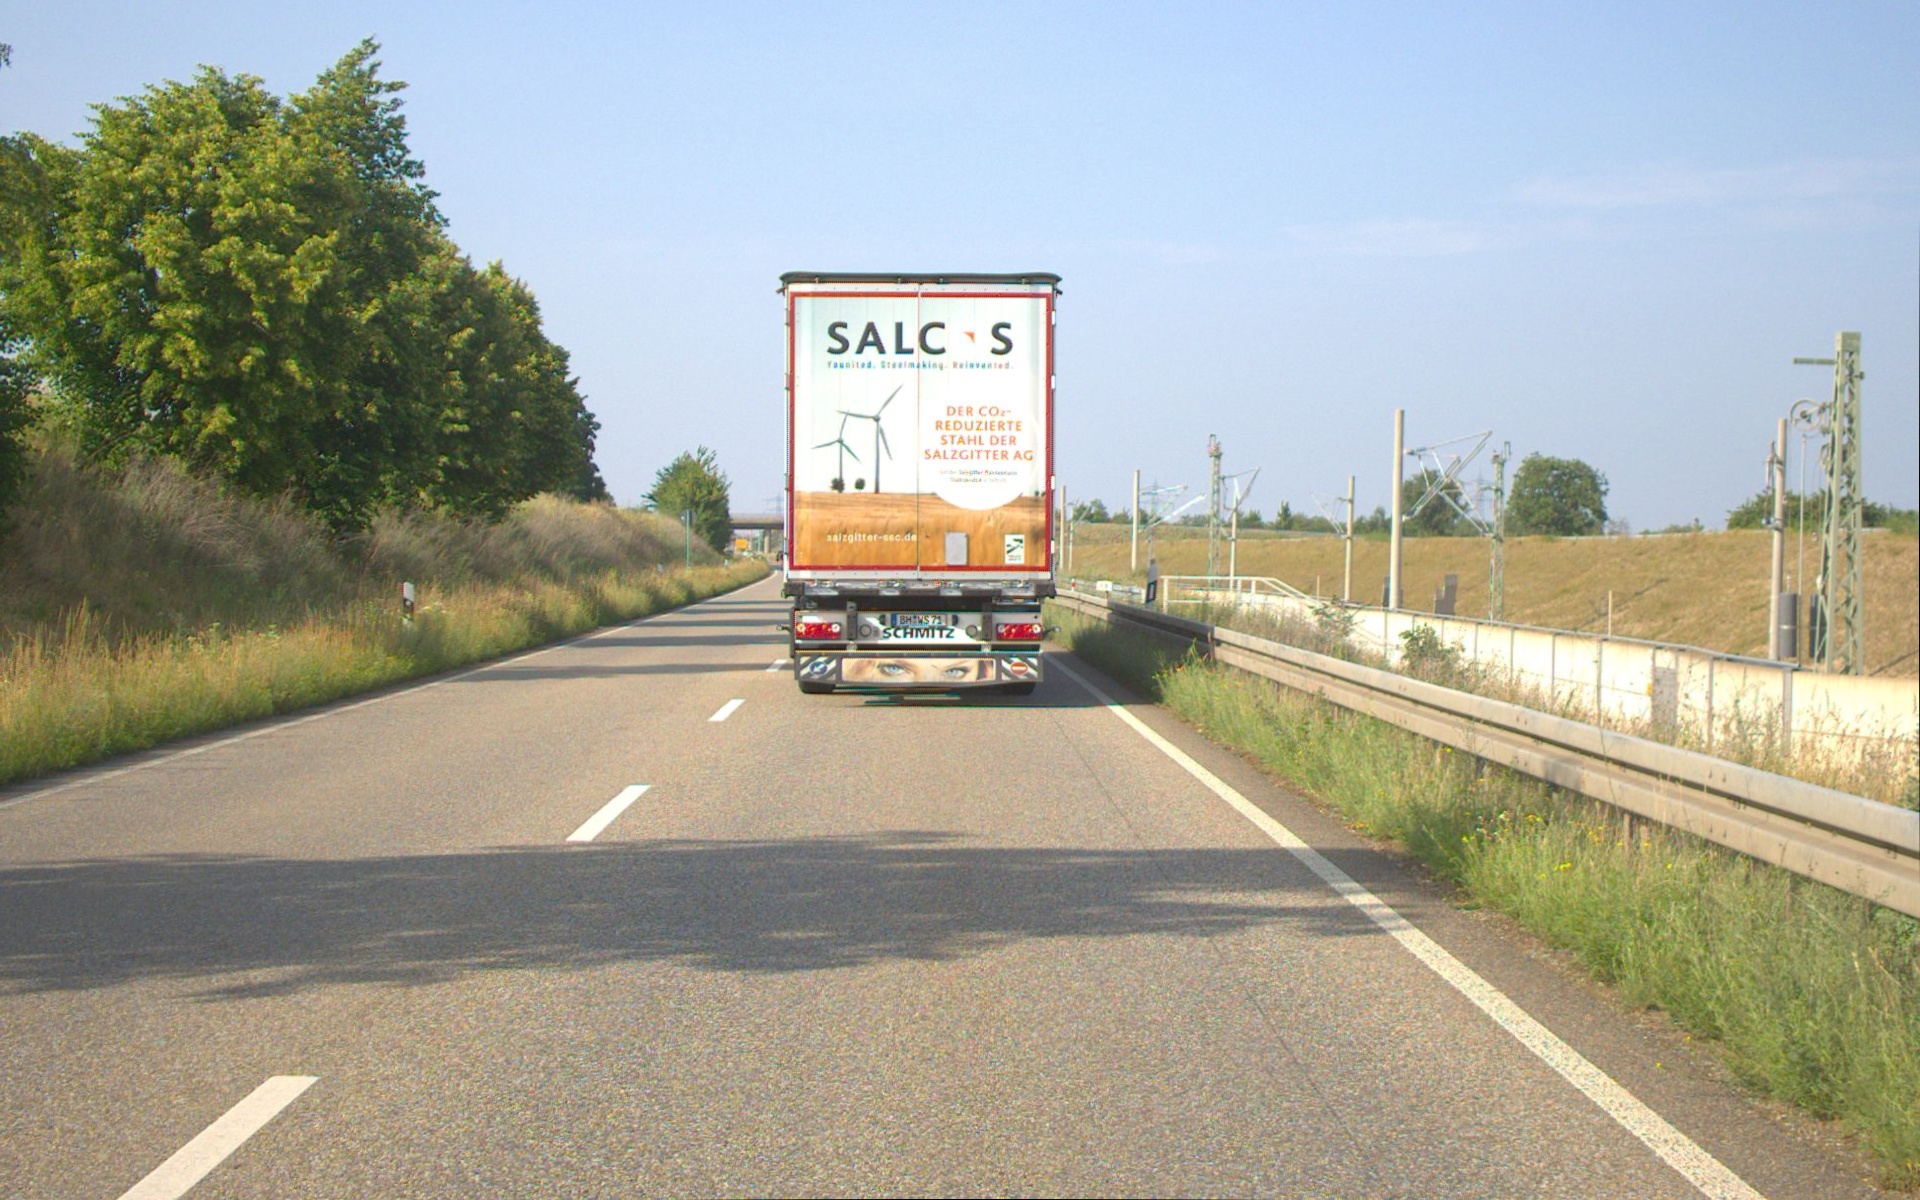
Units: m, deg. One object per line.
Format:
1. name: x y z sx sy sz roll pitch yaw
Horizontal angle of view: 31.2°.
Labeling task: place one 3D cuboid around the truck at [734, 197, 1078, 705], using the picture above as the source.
1. truck: -0.471 -1.459 35.896 3.153 4.672 8.442 0 1 0
